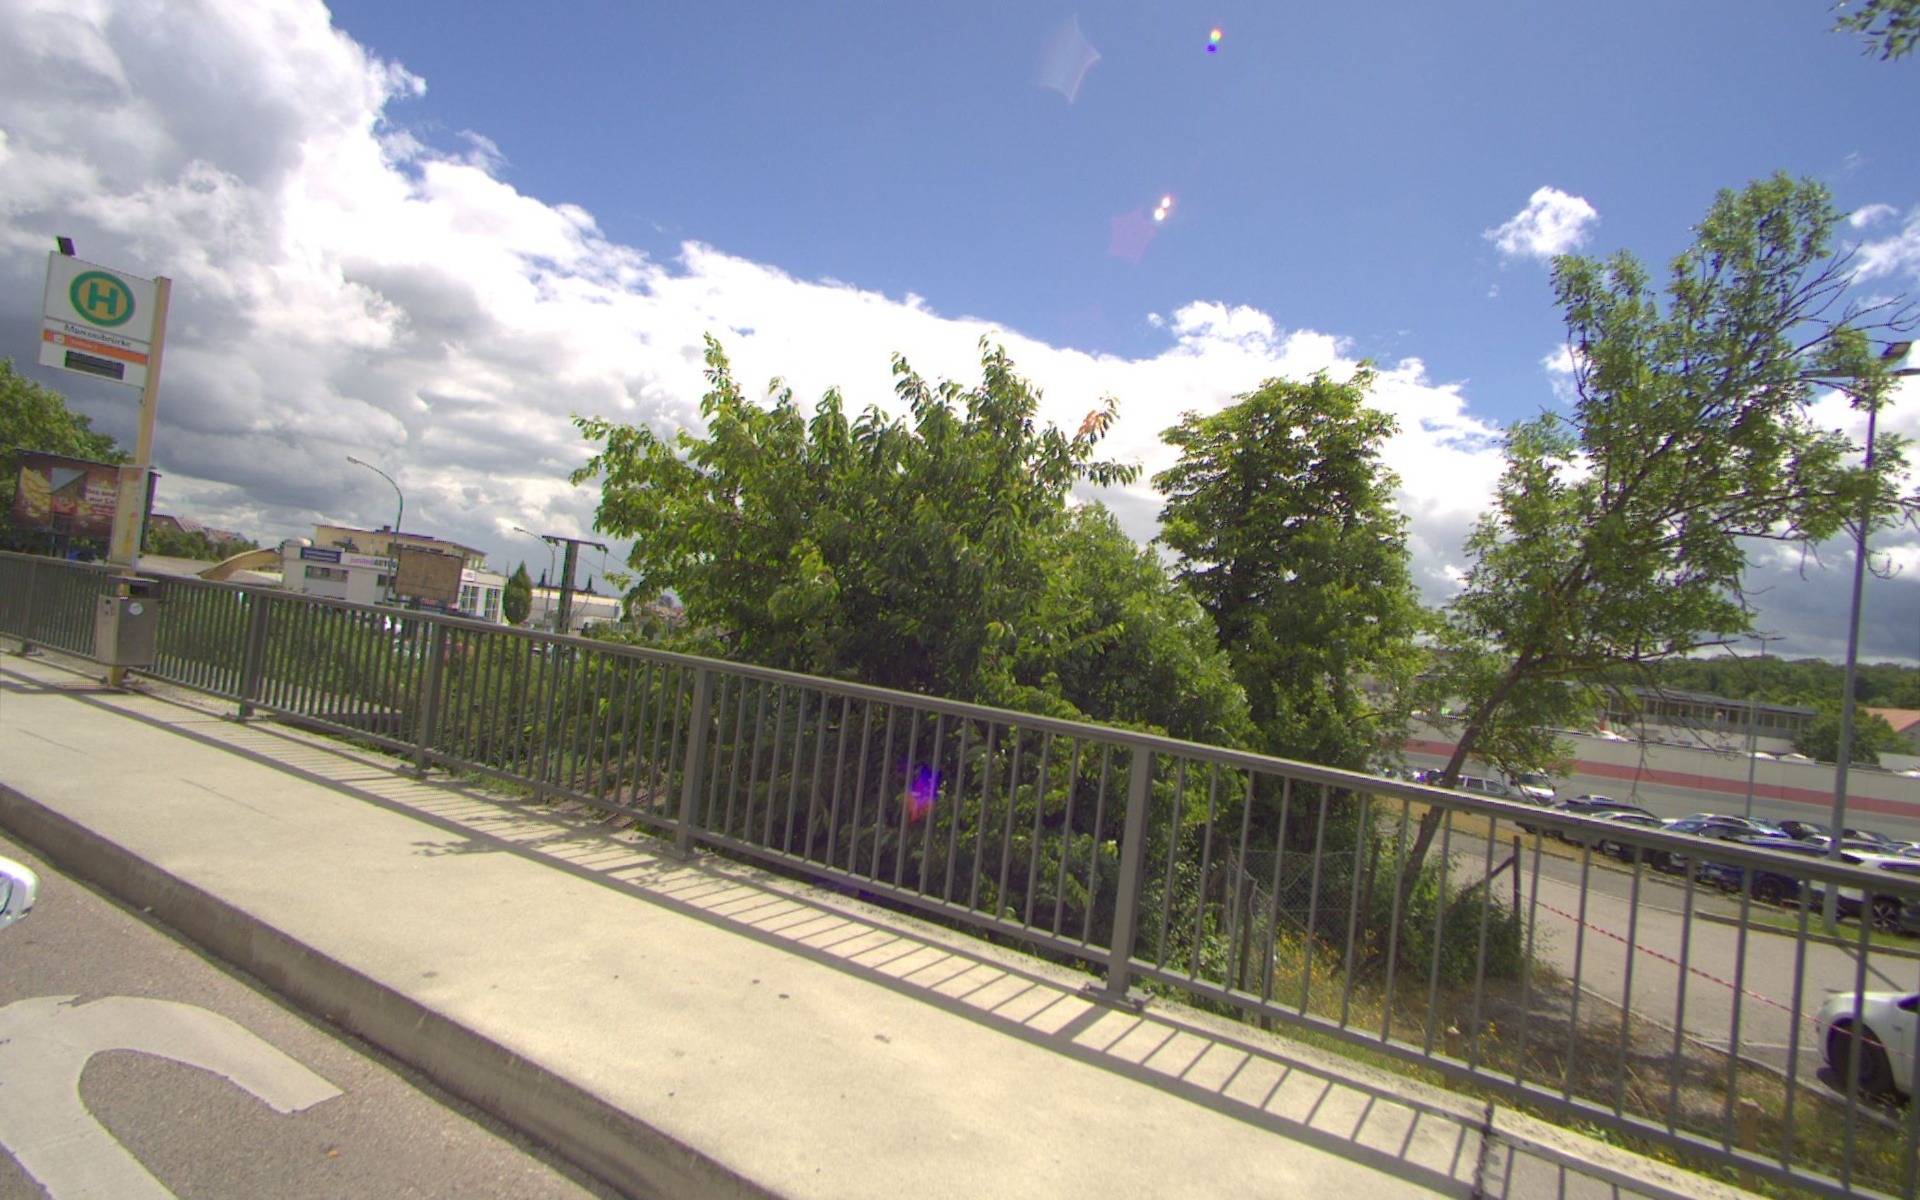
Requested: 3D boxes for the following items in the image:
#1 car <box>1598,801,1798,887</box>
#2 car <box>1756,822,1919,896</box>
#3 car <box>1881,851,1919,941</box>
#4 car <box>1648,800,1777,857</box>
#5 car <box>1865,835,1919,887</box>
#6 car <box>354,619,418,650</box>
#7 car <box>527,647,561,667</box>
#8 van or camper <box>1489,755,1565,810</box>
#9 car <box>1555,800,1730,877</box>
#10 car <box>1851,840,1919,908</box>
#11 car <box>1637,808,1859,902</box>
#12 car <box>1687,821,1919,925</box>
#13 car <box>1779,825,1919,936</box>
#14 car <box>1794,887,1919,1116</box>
[{"bbox_3d":[21.137,6.974,28.979,4.116,1.481,1.912,7,-1,6],"label":"car"},{"bbox_3d":[33.077,9.691,37.809,4.473,1.724,1.912,7,-1,6],"label":"car"},{"bbox_3d":[19.890,5.828,18.354,4.116,1.481,1.912,7,-1,6],"label":"car"},{"bbox_3d":[36.087,10.933,48.340,4.473,1.724,1.912,7,-1,6],"label":"car"},{"bbox_3d":[41.600,11.298,42.573,4.473,1.724,1.912,7,-1,6],"label":"car"},{"bbox_3d":[-36.026,2.193,63.242,1.680,1.494,3.966,7,-5,-1],"label":"car"},{"bbox_3d":[-36.621,5.048,88.595,1.766,1.521,2.912,4,-6,-3],"label":"car"},{"bbox_3d":[33.241,10.650,59.120,1.891,2.717,5.321,7,-6,8],"label":"van or camper"},{"bbox_3d":[21.799,7.608,32.296,4.116,1.481,1.912,7,-1,6],"label":"car"},{"bbox_3d":[32.286,9.182,32.771,4.473,1.724,1.912,7,-1,6],"label":"car"},{"bbox_3d":[20.719,6.697,26.614,4.116,1.481,1.912,7,-1,6],"label":"car"},{"bbox_3d":[20.244,6.481,24.045,4.116,1.481,1.912,7,-1,6],"label":"car"},{"bbox_3d":[20.279,6.077,21.239,4.116,1.689,1.912,7,-1,6],"label":"car"},{"bbox_3d":[9.348,3.703,7.931,1.837,1.687,4.357,7,-4,1],"label":"car"}]
